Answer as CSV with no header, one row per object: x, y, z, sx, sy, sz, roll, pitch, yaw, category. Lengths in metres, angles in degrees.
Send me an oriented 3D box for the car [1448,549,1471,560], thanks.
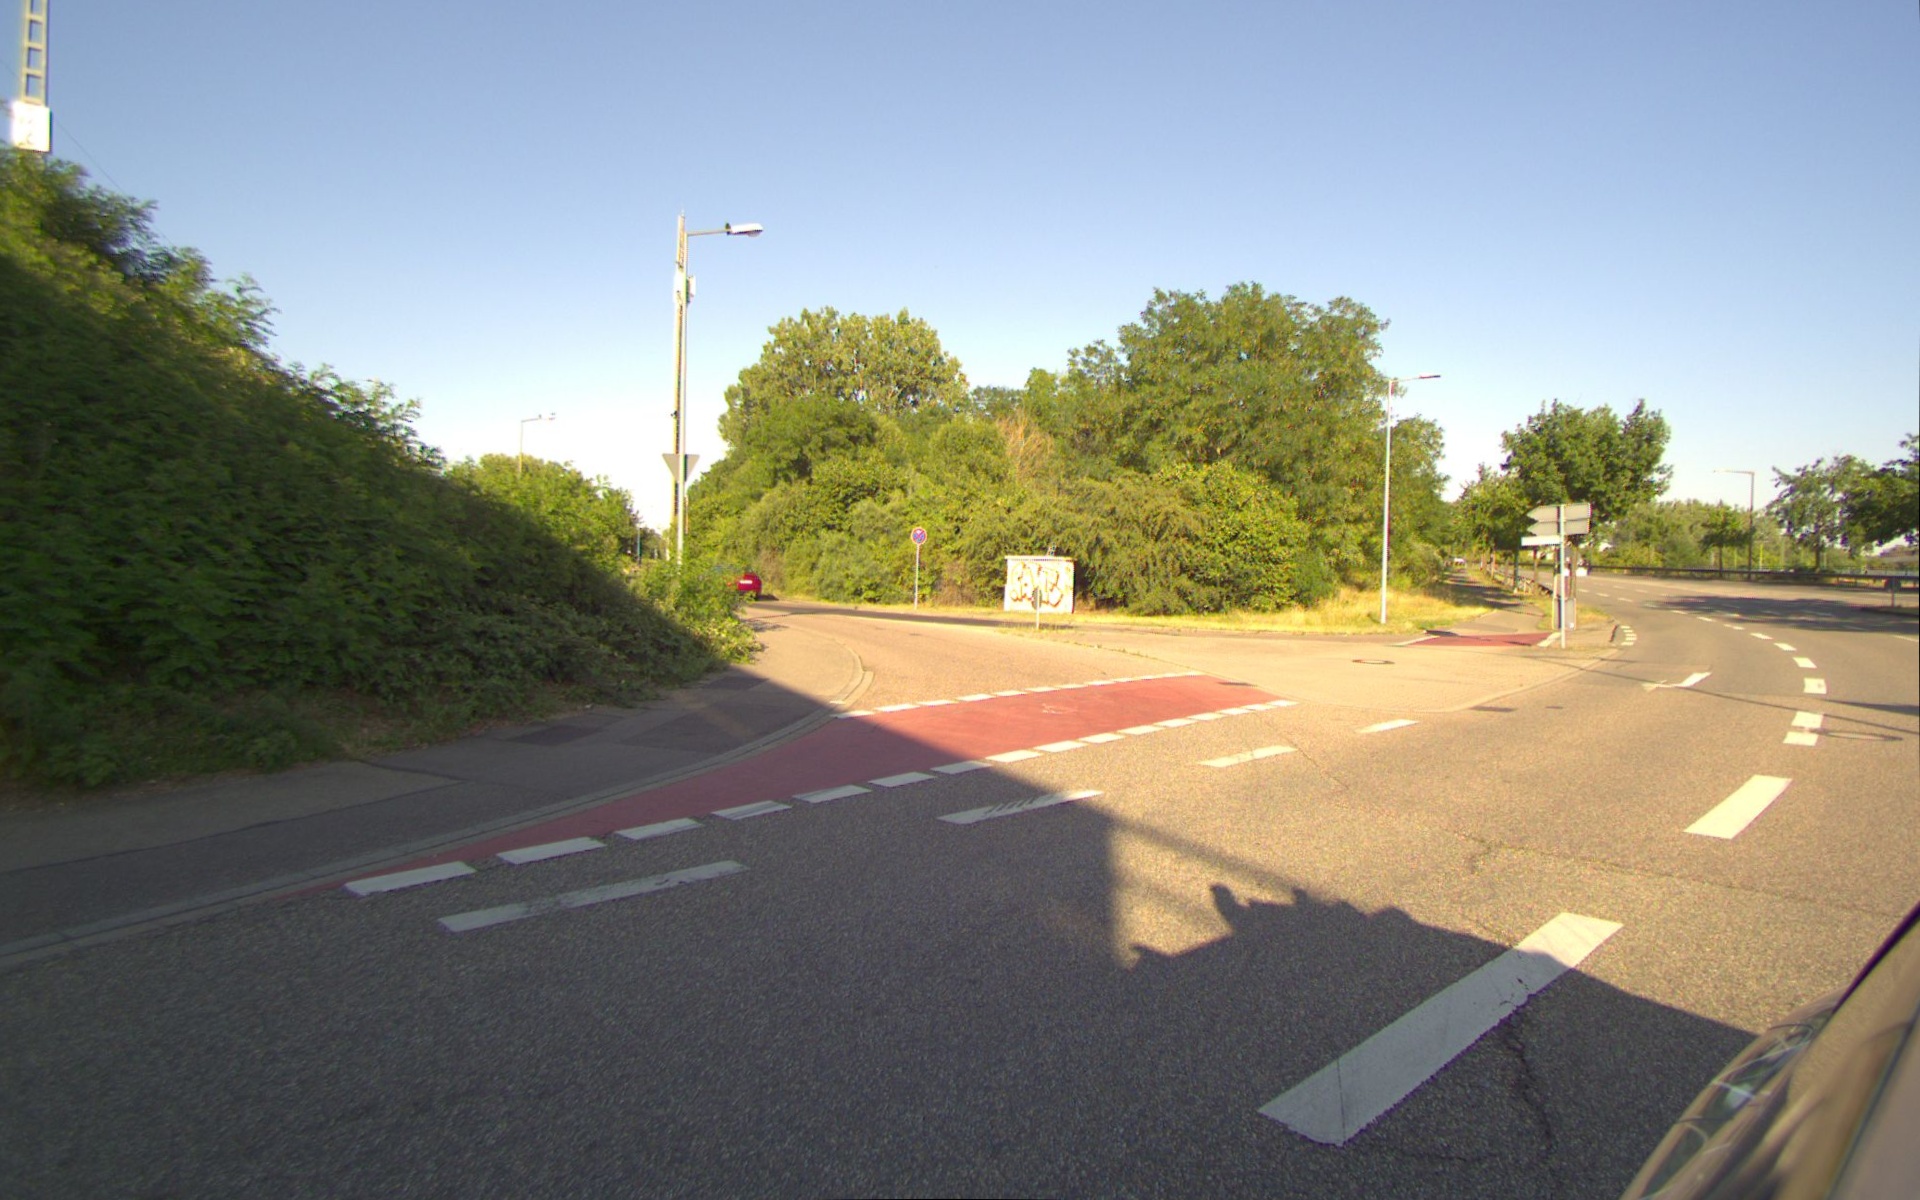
70.185,-6.429,142.167,1.649,1.480,4.098,0,2,8,car

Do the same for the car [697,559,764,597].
-9.677,-0.871,42.463,1.746,1.460,4.366,2,-1,-26,car

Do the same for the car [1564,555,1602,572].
62.696,-3.677,101.881,1.823,1.623,4.382,0,2,11,car
